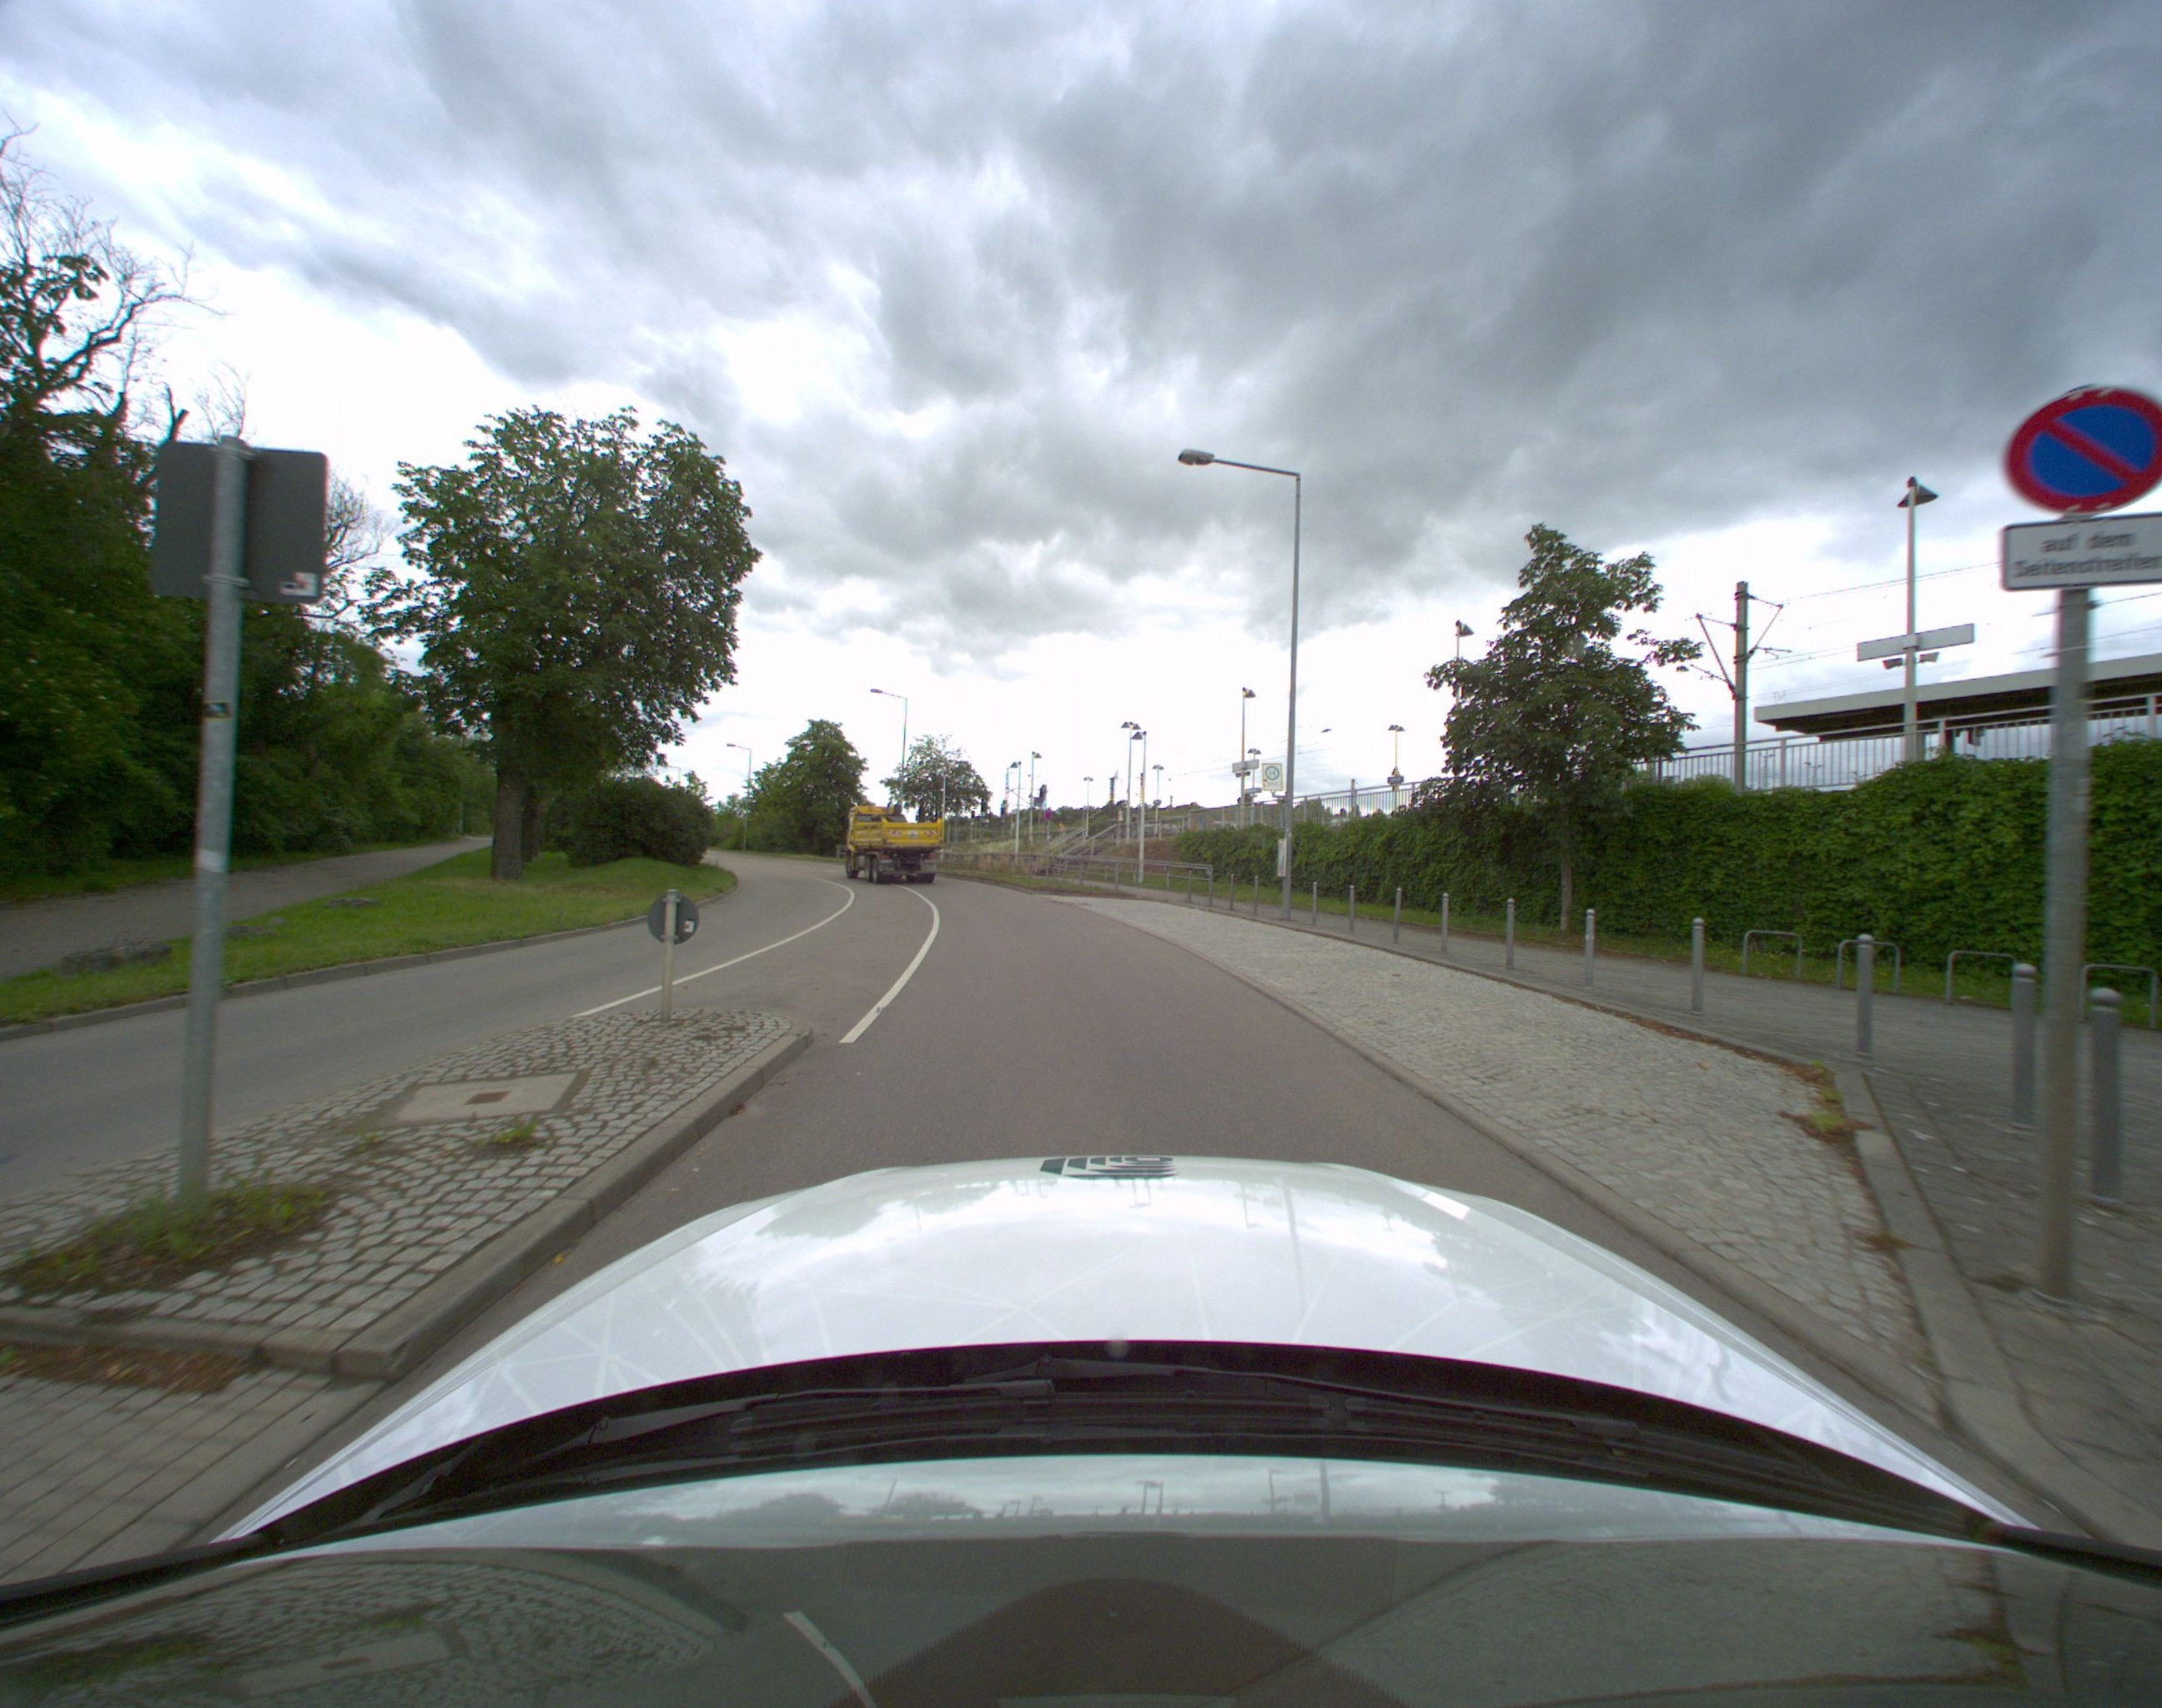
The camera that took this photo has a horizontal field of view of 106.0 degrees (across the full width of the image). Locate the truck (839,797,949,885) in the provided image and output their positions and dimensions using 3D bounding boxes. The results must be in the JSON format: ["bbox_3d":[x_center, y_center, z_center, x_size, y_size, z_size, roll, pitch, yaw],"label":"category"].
[{"bbox_3d":[-8.573,-0.612,36.479,2.780,3.483,8.057,0,1,-28],"label":"truck"}]
